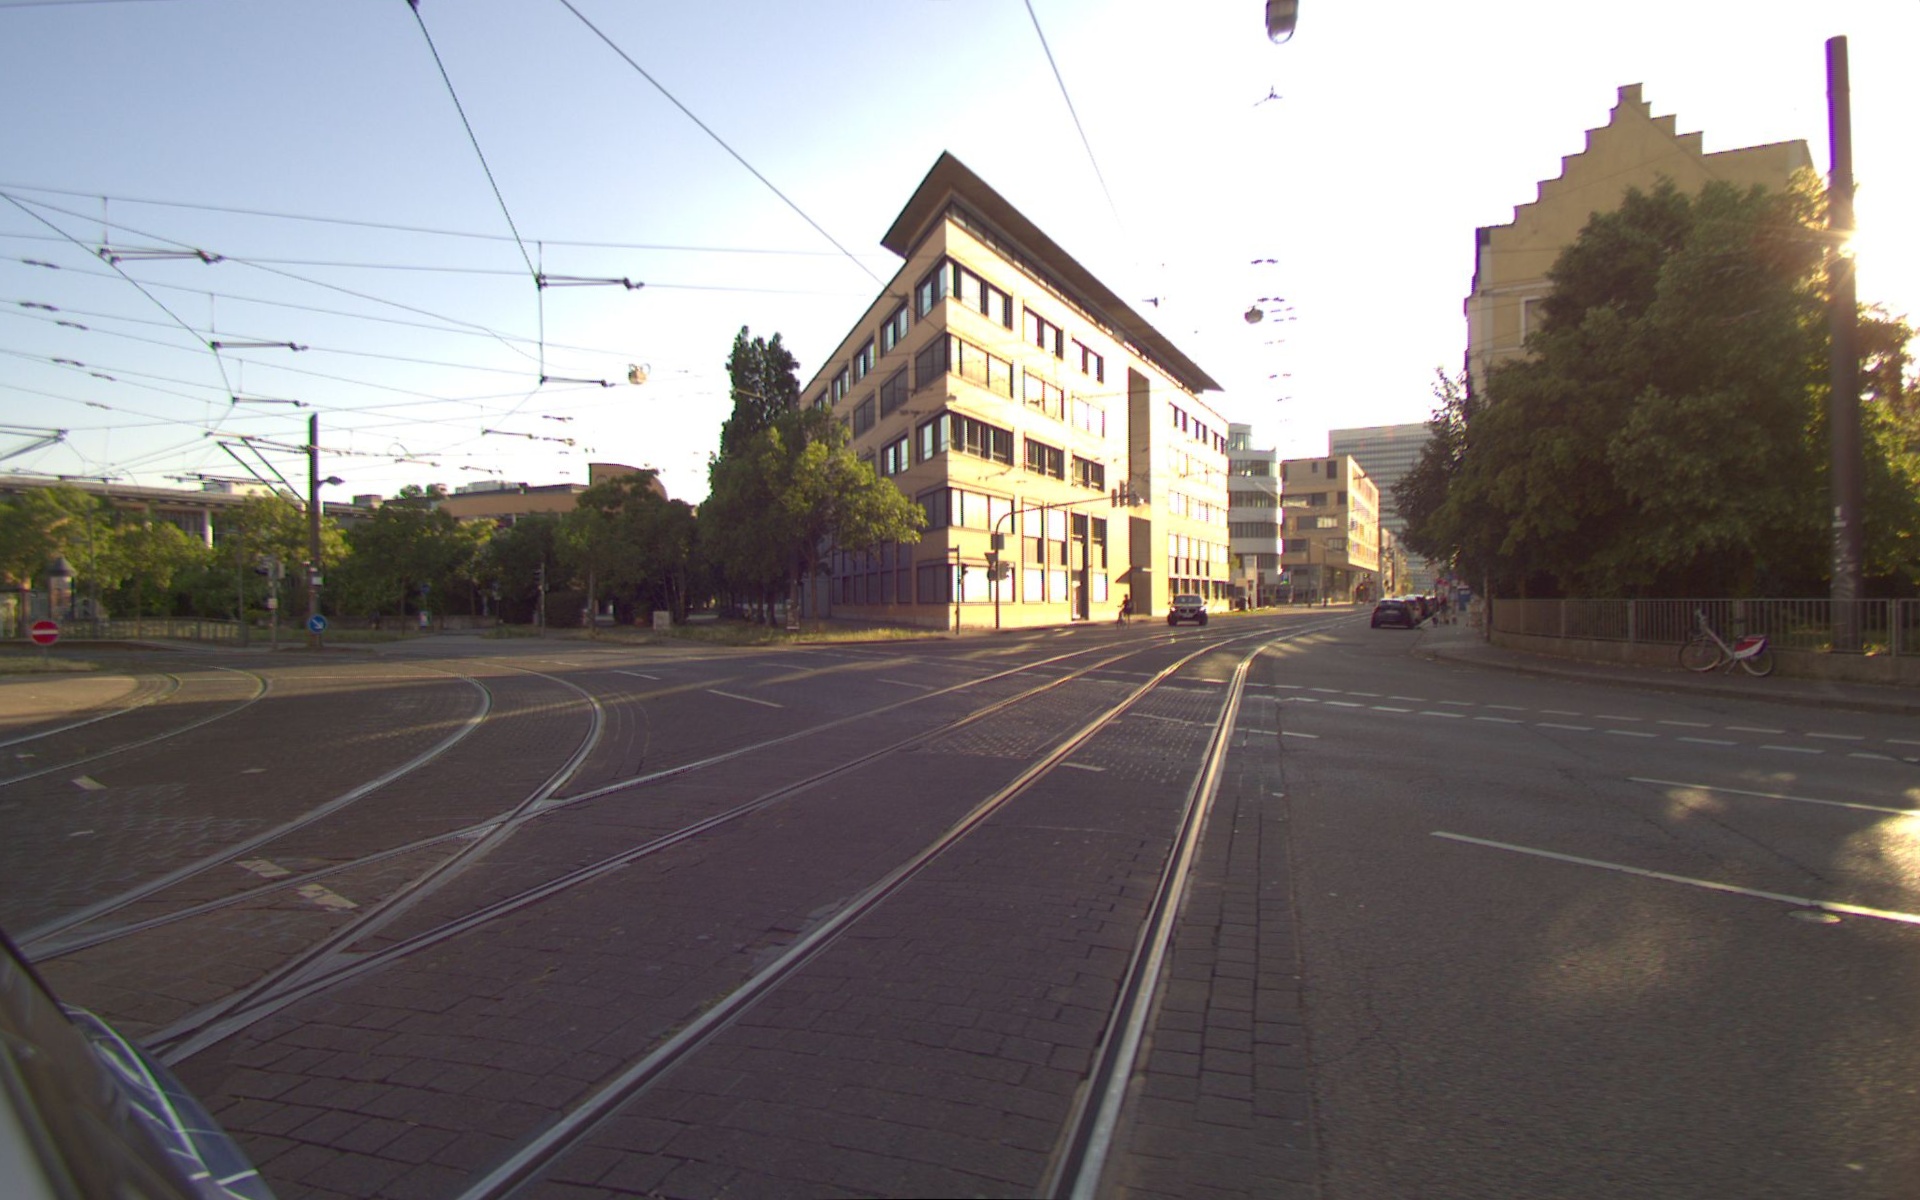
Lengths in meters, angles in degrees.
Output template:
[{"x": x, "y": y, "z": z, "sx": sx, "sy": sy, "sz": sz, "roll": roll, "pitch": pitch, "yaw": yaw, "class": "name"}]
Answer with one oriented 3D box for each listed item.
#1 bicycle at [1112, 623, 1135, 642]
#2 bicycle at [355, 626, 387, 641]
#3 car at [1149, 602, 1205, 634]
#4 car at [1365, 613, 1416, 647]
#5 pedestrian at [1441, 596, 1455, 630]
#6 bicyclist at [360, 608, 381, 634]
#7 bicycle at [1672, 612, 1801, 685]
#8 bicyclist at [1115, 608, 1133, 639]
[{"x": 8.001, "y": 1.581, "z": 49.462, "sx": 0.655, "sy": 0.839, "sz": 1.675, "roll": -1, "pitch": -1, "yaw": 27, "class": "bicycle"}, {"x": -34.450, "y": 1.967, "z": 59.197, "sx": 1.958, "sy": 0.827, "sz": 0.769, "roll": -1, "pitch": 0, "yaw": 30, "class": "bicycle"}, {"x": 10.849, "y": 0.887, "z": 50.487, "sx": 1.988, "sy": 1.497, "sz": 3.968, "roll": -1, "pitch": -1, "yaw": 24, "class": "car"}, {"x": 20.612, "y": 1.410, "z": 48.351, "sx": 1.990, "sy": 1.497, "sz": 3.964, "roll": -1, "pitch": -1, "yaw": 27, "class": "car"}, {"x": 24.786, "y": 0.648, "z": 51.399, "sx": 0.583, "sy": 1.718, "sz": 0.710, "roll": -1, "pitch": -1, "yaw": 26, "class": "pedestrian"}, {"x": -34.470, "y": 1.221, "z": 59.189, "sx": 0.824, "sy": 1.478, "sz": 0.762, "roll": -1, "pitch": -1, "yaw": 30, "class": "bicyclist"}, {"x": 13.056, "y": 0.787, "z": 17.083, "sx": 0.549, "sy": 1.151, "sz": 1.727, "roll": -1, "pitch": -1, "yaw": -14, "class": "bicycle"}, {"x": 8.021, "y": 1.152, "z": 49.509, "sx": 0.664, "sy": 1.464, "sz": 0.737, "roll": -1, "pitch": -1, "yaw": 28, "class": "bicyclist"}]
